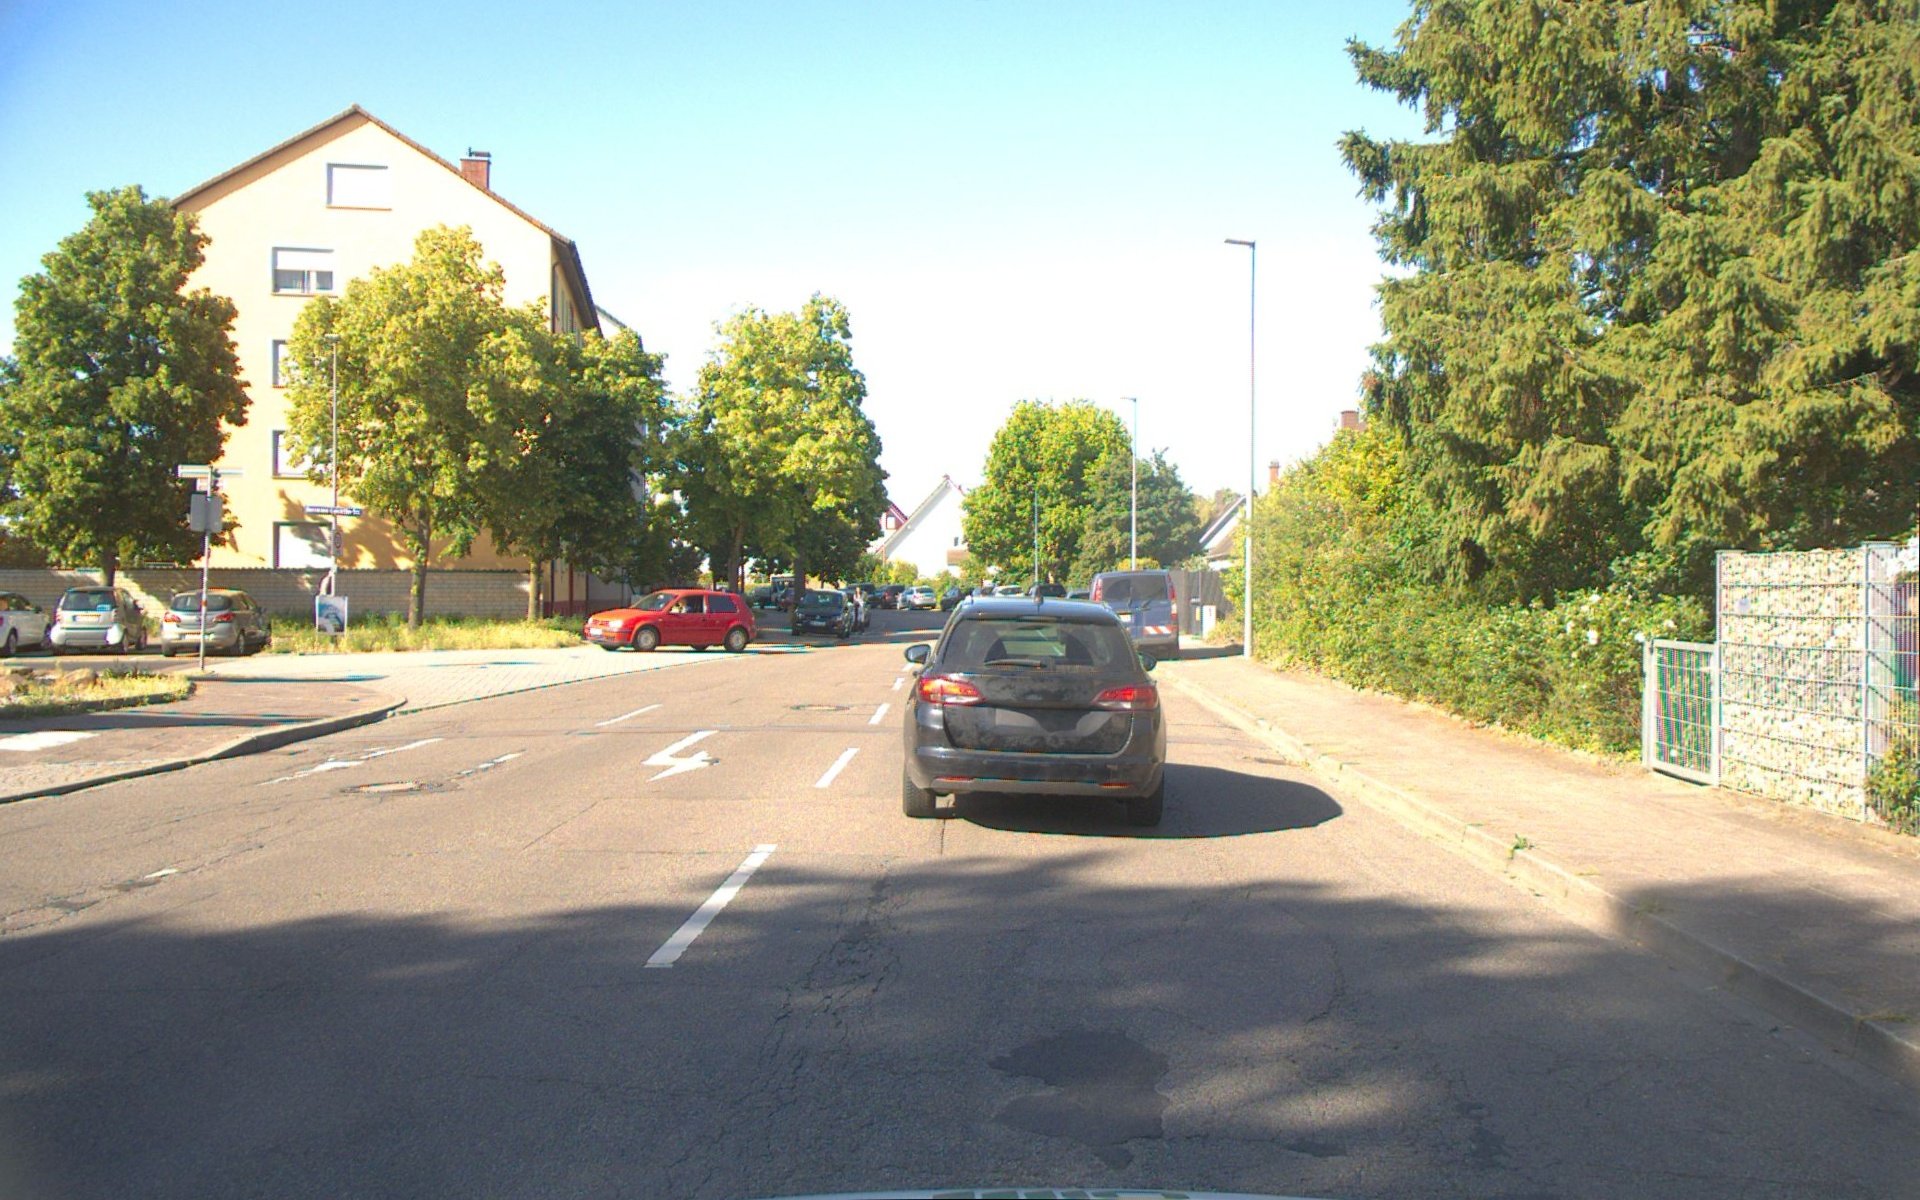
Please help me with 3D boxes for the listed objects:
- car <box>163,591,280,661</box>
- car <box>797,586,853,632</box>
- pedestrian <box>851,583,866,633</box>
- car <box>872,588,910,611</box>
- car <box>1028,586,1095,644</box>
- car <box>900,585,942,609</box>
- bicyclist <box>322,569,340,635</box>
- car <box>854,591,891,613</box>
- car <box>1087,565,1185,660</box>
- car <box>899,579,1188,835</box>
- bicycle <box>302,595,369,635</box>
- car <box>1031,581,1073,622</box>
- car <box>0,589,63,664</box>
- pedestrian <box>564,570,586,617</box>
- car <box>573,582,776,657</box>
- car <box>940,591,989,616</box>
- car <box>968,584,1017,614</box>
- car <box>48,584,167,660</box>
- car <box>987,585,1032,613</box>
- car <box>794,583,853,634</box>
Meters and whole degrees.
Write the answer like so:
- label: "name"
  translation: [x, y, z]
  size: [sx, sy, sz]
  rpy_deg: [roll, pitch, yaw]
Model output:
- label: "car"
  translation: [-17.373, 0.574, 39.067]
  size: [1.698, 1.489, 3.871]
  rpy_deg: [0, 1, -11]
- label: "car"
  translation: [-4.763, 0.352, 58.809]
  size: [1.666, 1.550, 4.051]
  rpy_deg: [-1, -1, -1]
- label: "pedestrian"
  translation: [-3.638, 0.302, 59.450]
  size: [0.494, 1.792, 0.694]
  rpy_deg: [0, -2, -2]
- label: "car"
  translation: [-4.787, 0.001, 114.382]
  size: [1.790, 1.561, 4.241]
  rpy_deg: [0, 0, -15]
- label: "car"
  translation: [2.846, 0.371, 47.068]
  size: [1.729, 1.506, 4.993]
  rpy_deg: [-1, 1, 2]
- label: "car"
  translation: [-2.598, -0.167, 109.206]
  size: [1.790, 1.561, 4.241]
  rpy_deg: [0, 0, -15]
- label: "bicyclist"
  translation: [-16.398, 0.049, 43.101]
  size: [0.384, 1.715, 0.378]
  rpy_deg: [1, -2, -30]
- label: "car"
  translation: [-6.350, 0.164, 119.544]
  size: [1.790, 1.561, 4.241]
  rpy_deg: [0, 0, -15]
- label: "car"
  translation: [3.838, 0.245, 36.686]
  size: [1.798, 1.941, 4.699]
  rpy_deg: [1, 0, 2]
- label: "car"
  translation: [0.547, 0.654, 12.170]
  size: [1.725, 1.517, 4.291]
  rpy_deg: [1, 0, 1]
- label: "bicycle"
  translation: [-16.285, 0.387, 43.138]
  size: [1.600, 1.028, 0.402]
  rpy_deg: [0, 0, -31]
- label: "car"
  translation: [4.089, 0.063, 74.329]
  size: [1.741, 1.754, 4.295]
  rpy_deg: [-1, 0, 1]
- label: "car"
  translation: [-22.295, 0.577, 38.355]
  size: [1.669, 1.489, 3.868]
  rpy_deg: [0, 3, -14]
- label: "pedestrian"
  translation: [-14.872, -0.247, 63.824]
  size: [0.671, 1.748, 0.720]
  rpy_deg: [-1, -2, 1]
- label: "car"
  translation: [-6.617, 0.424, 38.624]
  size: [1.985, 1.595, 4.362]
  rpy_deg: [2, 1, 44]
- label: "car"
  translation: [0.261, 0.227, 100.263]
  size: [1.972, 1.501, 4.277]
  rpy_deg: [0, 0, -15]
- label: "car"
  translation: [1.836, -0.048, 94.888]
  size: [1.878, 1.628, 4.279]
  rpy_deg: [0, 0, -13]
- label: "car"
  translation: [-20.274, 0.481, 39.472]
  size: [1.669, 1.650, 3.867]
  rpy_deg: [0, 1, -14]
- label: "car"
  translation: [2.678, -0.049, 90.277]
  size: [1.728, 1.506, 4.285]
  rpy_deg: [0, 0, -9]
- label: "car"
  translation: [-4.340, 0.296, 53.036]
  size: [1.666, 1.506, 4.050]
  rpy_deg: [2, -1, -2]
